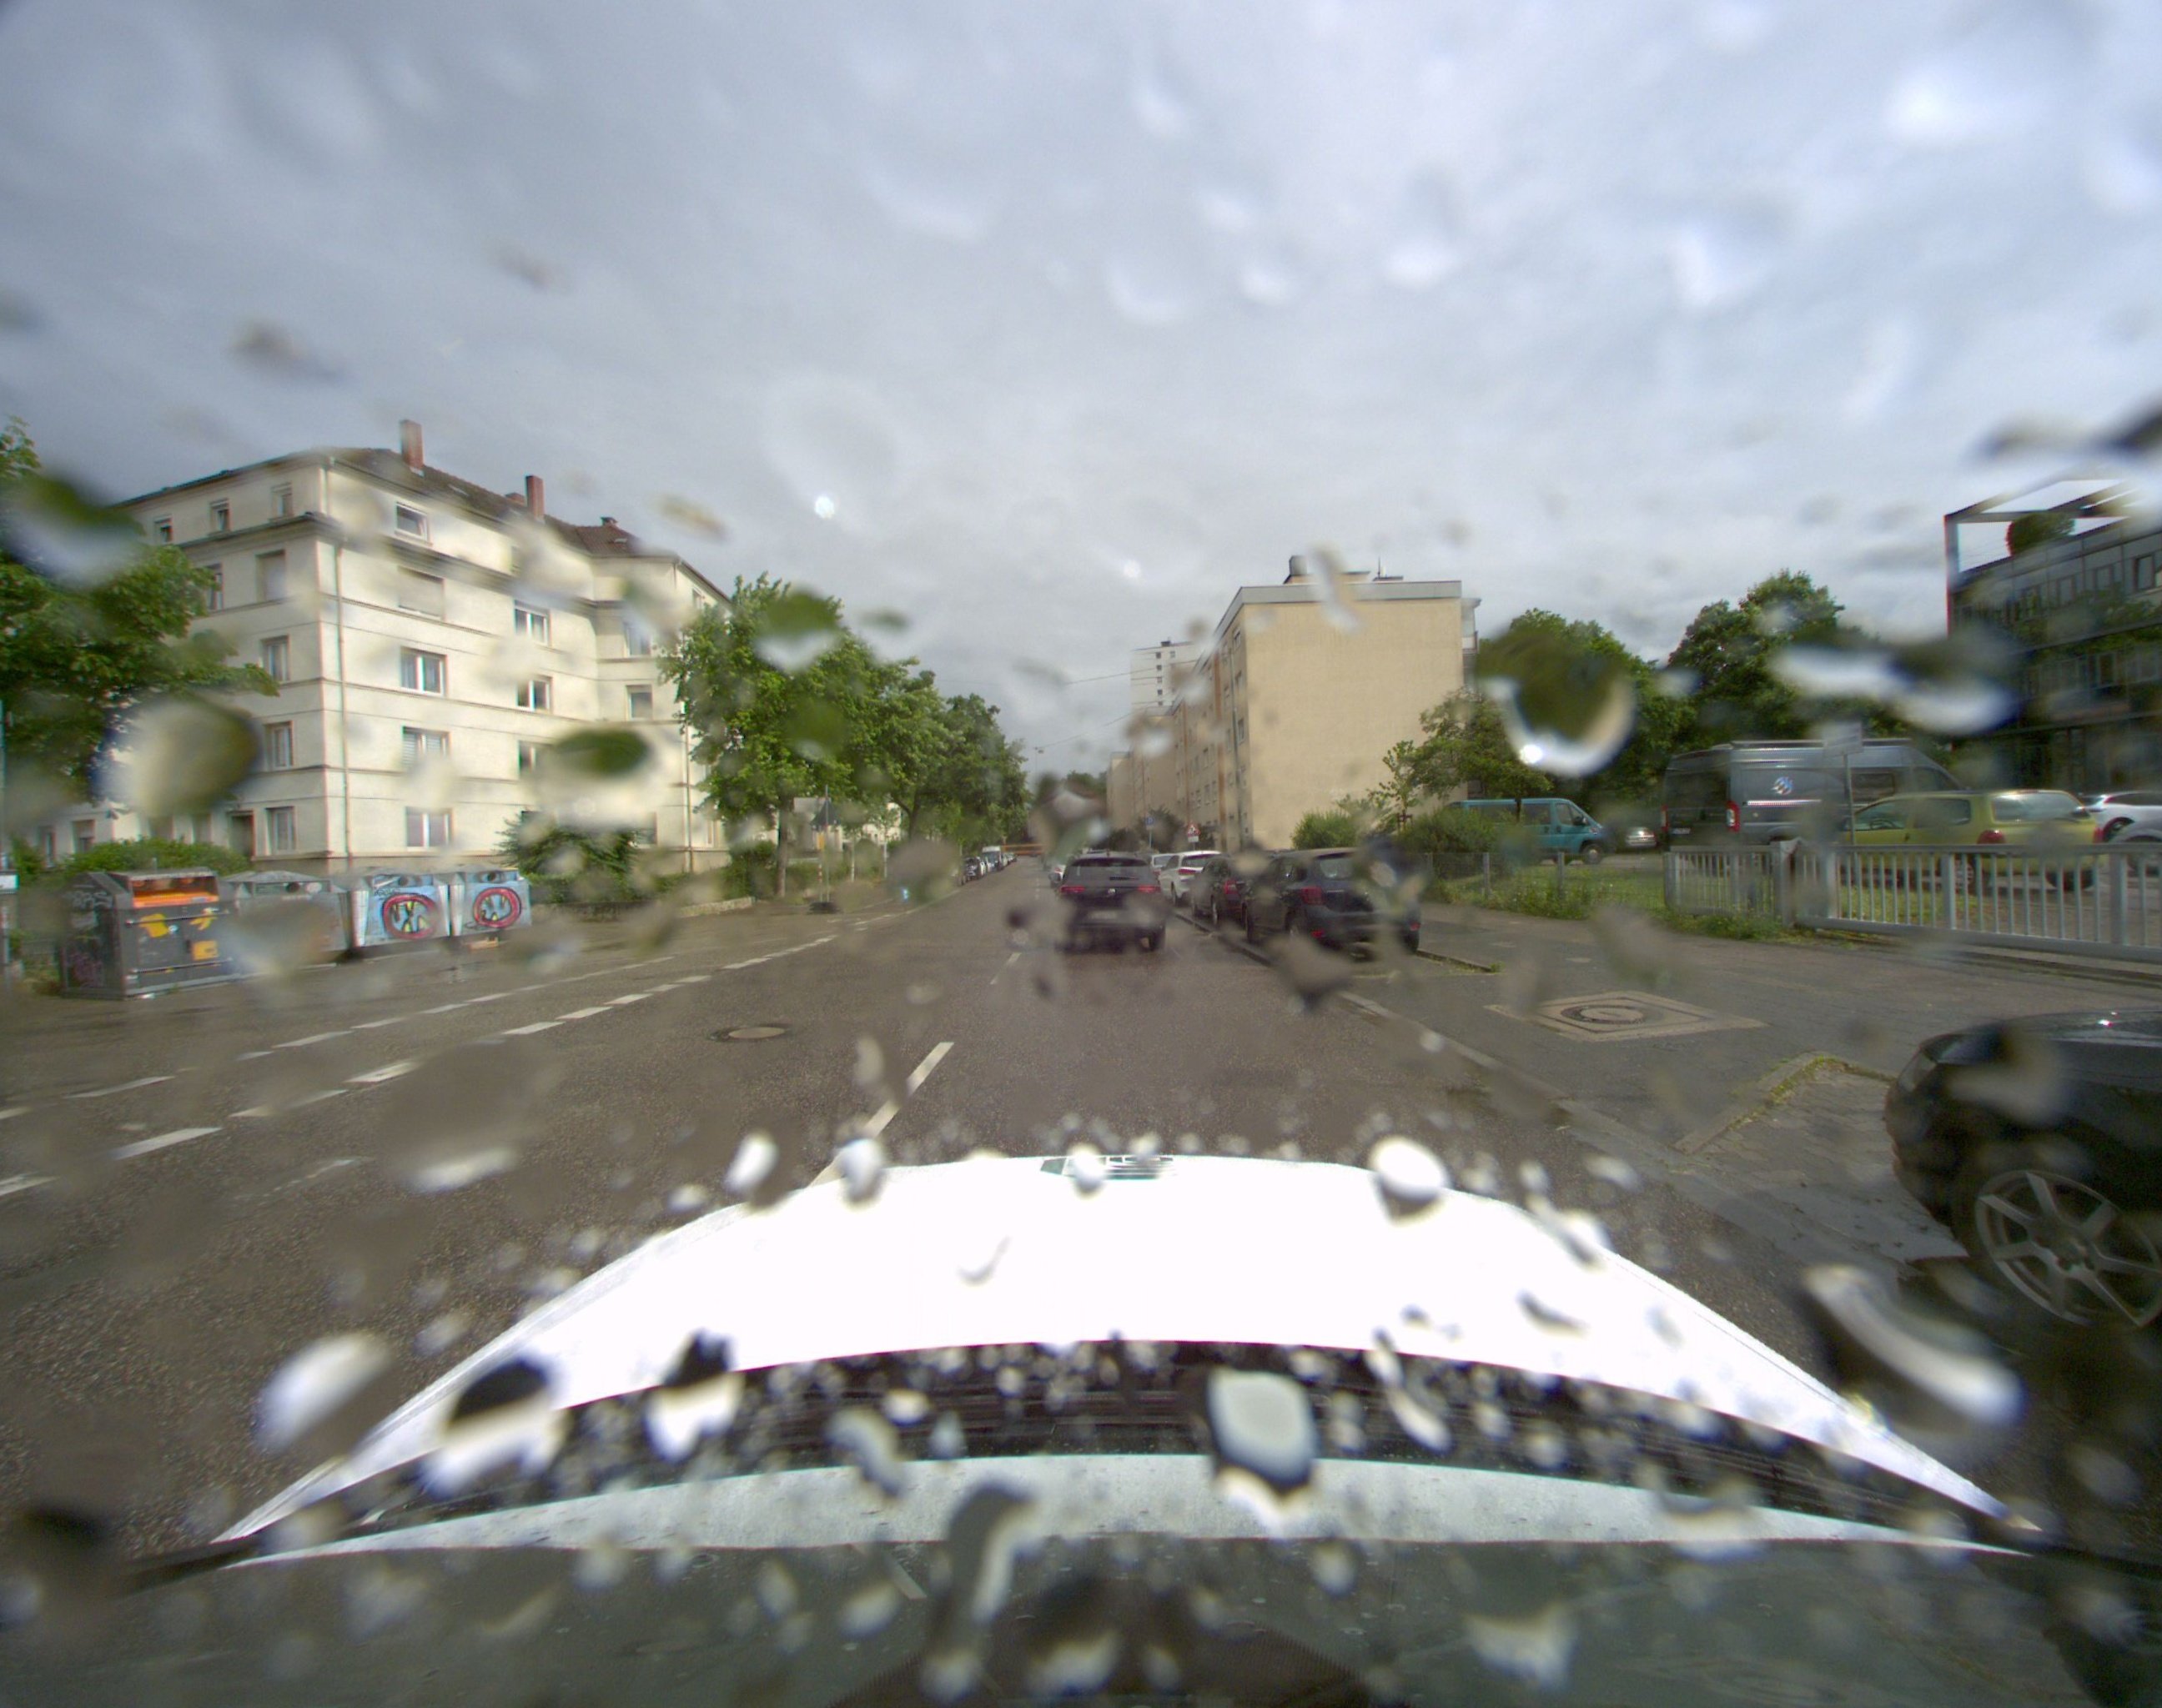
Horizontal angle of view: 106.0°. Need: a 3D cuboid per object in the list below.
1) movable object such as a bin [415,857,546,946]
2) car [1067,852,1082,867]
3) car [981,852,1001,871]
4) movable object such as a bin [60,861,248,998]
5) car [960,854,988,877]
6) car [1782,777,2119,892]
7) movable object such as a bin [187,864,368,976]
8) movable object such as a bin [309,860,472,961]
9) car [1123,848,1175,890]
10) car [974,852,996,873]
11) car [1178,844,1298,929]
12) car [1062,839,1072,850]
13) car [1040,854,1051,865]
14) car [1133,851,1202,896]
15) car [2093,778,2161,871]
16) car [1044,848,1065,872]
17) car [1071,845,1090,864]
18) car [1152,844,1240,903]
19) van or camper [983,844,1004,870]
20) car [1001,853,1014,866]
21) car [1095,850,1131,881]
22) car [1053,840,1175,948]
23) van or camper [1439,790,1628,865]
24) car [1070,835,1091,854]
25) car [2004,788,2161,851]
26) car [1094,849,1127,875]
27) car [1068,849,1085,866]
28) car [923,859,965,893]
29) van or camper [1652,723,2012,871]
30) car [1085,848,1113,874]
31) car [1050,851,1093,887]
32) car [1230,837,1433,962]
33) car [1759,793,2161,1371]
[{"bbox_3d":[-12.203,0.943,16.590,1.525,1.662,1.466,-3,1,19],"label":"movable object such as a bin"},{"bbox_3d":[-0.800,0.664,98.282,1.601,1.765,4.027,-3,0,-3],"label":"car"},{"bbox_3d":[-8.459,0.704,76.663,1.583,1.639,3.915,-3,0,-4],"label":"car"},{"bbox_3d":[-13.632,1.073,12.008,1.525,1.824,1.270,-3,1,19],"label":"movable object such as a bin"},{"bbox_3d":[-7.405,0.781,56.540,1.583,1.418,3.915,-3,0,-4],"label":"car"},{"bbox_3d":[13.024,-0.268,12.538,1.604,1.449,3.420,-3,0,3],"label":"car"},{"bbox_3d":[-13.276,1.059,13.510,1.525,1.656,1.535,-3,1,19],"label":"movable object such as a bin"},{"bbox_3d":[-12.724,1.012,15.073,1.525,1.674,1.674,-3,1,19],"label":"movable object such as a bin"},{"bbox_3d":[2.811,0.587,34.440,1.601,1.661,4.026,-1,0,-4],"label":"car"},{"bbox_3d":[-8.337,0.700,70.873,1.583,1.639,3.915,-3,0,-4],"label":"car"},{"bbox_3d":[3.251,0.634,17.665,1.600,1.508,4.157,-4,0,-2],"label":"car"},{"bbox_3d":[-2.546,-1.611,143.098,1.661,1.837,3.997,-3,0,-2],"label":"car"},{"bbox_3d":[-5.234,0.750,120.080,1.601,1.510,3.544,-3,0,-3],"label":"car"},{"bbox_3d":[3.004,0.646,29.025,1.713,1.452,4.253,-1,0,-4],"label":"car"},{"bbox_3d":[18.027,-0.504,12.021,1.642,1.486,3.722,-3,0,3],"label":"car"},{"bbox_3d":[-2.363,0.568,74.205,1.831,2.103,3.998,0,-1,-1],"label":"car"},{"bbox_3d":[-0.071,0.079,82.421,1.601,1.765,4.027,-3,0,-3],"label":"car"},{"bbox_3d":[3.258,0.557,23.877,1.745,1.508,4.106,-2,-1,-3],"label":"car"},{"bbox_3d":[-8.955,0.329,83.863,1.799,2.493,5.013,-3,0,-4],"label":"van or camper"},{"bbox_3d":[-9.936,0.674,110.771,1.583,1.639,3.915,-3,0,-4],"label":"car"},{"bbox_3d":[1.744,0.622,45.508,1.691,1.539,4.029,-3,0,-2],"label":"car"},{"bbox_3d":[0.523,0.634,14.566,1.867,1.645,4.061,0,-1,0],"label":"car"},{"bbox_3d":[14.440,-0.828,26.260,4.738,2.131,2.324,-2,0,4],"label":"van or camper"},{"bbox_3d":[0.006,-0.897,78.208,1.834,1.608,3.677,-4,0,2],"label":"car"},{"bbox_3d":[26.609,-0.899,20.847,3.959,1.465,1.673,-3,0,2],"label":"car"},{"bbox_3d":[1.821,0.489,51.477,1.601,1.505,4.027,-3,0,-3],"label":"car"},{"bbox_3d":[-0.532,0.415,91.935,1.601,1.765,4.027,-3,0,-3],"label":"car"},{"bbox_3d":[-6.805,1.060,40.741,1.583,1.505,4.059,-3,0,-4],"label":"car"},{"bbox_3d":[14.582,-1.031,16.087,4.980,2.554,2.175,-2,-1,1],"label":"van or camper"},{"bbox_3d":[1.270,0.488,58.776,1.601,1.672,4.027,-3,0,-3],"label":"car"},{"bbox_3d":[-0.373,0.672,36.744,1.807,1.503,4.000,0,-1,1],"label":"car"},{"bbox_3d":[3.633,0.607,12.593,1.752,1.527,3.997,-3,0,-2],"label":"car"},{"bbox_3d":[3.804,0.585,1.242,1.769,1.539,4.376,-5,0,-1],"label":"car"}]
